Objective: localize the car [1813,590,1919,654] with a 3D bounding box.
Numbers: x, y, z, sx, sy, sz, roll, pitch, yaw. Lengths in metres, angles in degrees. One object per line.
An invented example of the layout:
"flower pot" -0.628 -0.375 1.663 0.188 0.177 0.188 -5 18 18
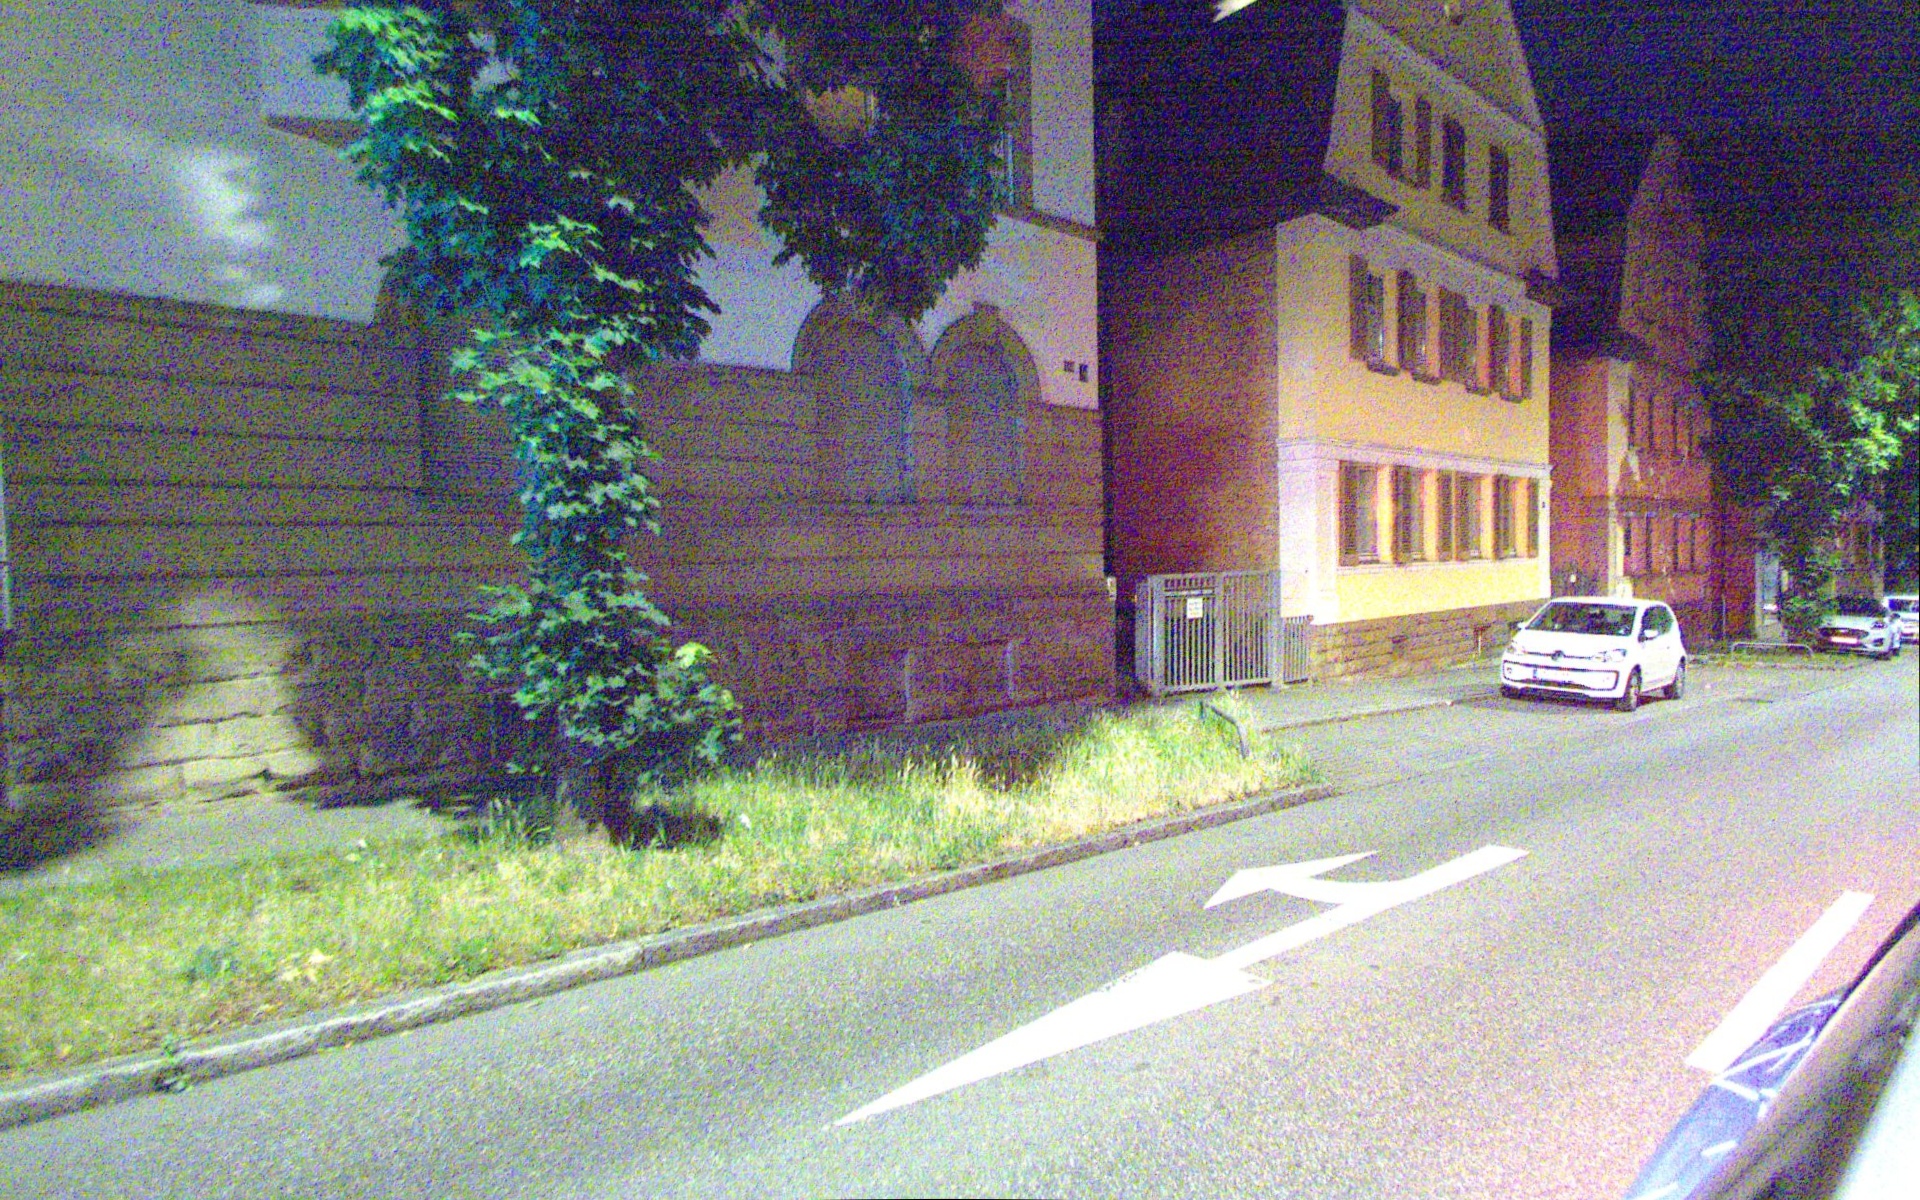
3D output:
"car" 23.615 0.510 26.284 3.824 1.516 1.740 0 2 -43

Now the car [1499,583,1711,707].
"car" 9.297 0.559 14.508 3.425 1.527 1.610 0 2 -41

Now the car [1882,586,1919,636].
"car" 33.539 0.371 35.141 4.107 1.673 1.850 0 0 -42
